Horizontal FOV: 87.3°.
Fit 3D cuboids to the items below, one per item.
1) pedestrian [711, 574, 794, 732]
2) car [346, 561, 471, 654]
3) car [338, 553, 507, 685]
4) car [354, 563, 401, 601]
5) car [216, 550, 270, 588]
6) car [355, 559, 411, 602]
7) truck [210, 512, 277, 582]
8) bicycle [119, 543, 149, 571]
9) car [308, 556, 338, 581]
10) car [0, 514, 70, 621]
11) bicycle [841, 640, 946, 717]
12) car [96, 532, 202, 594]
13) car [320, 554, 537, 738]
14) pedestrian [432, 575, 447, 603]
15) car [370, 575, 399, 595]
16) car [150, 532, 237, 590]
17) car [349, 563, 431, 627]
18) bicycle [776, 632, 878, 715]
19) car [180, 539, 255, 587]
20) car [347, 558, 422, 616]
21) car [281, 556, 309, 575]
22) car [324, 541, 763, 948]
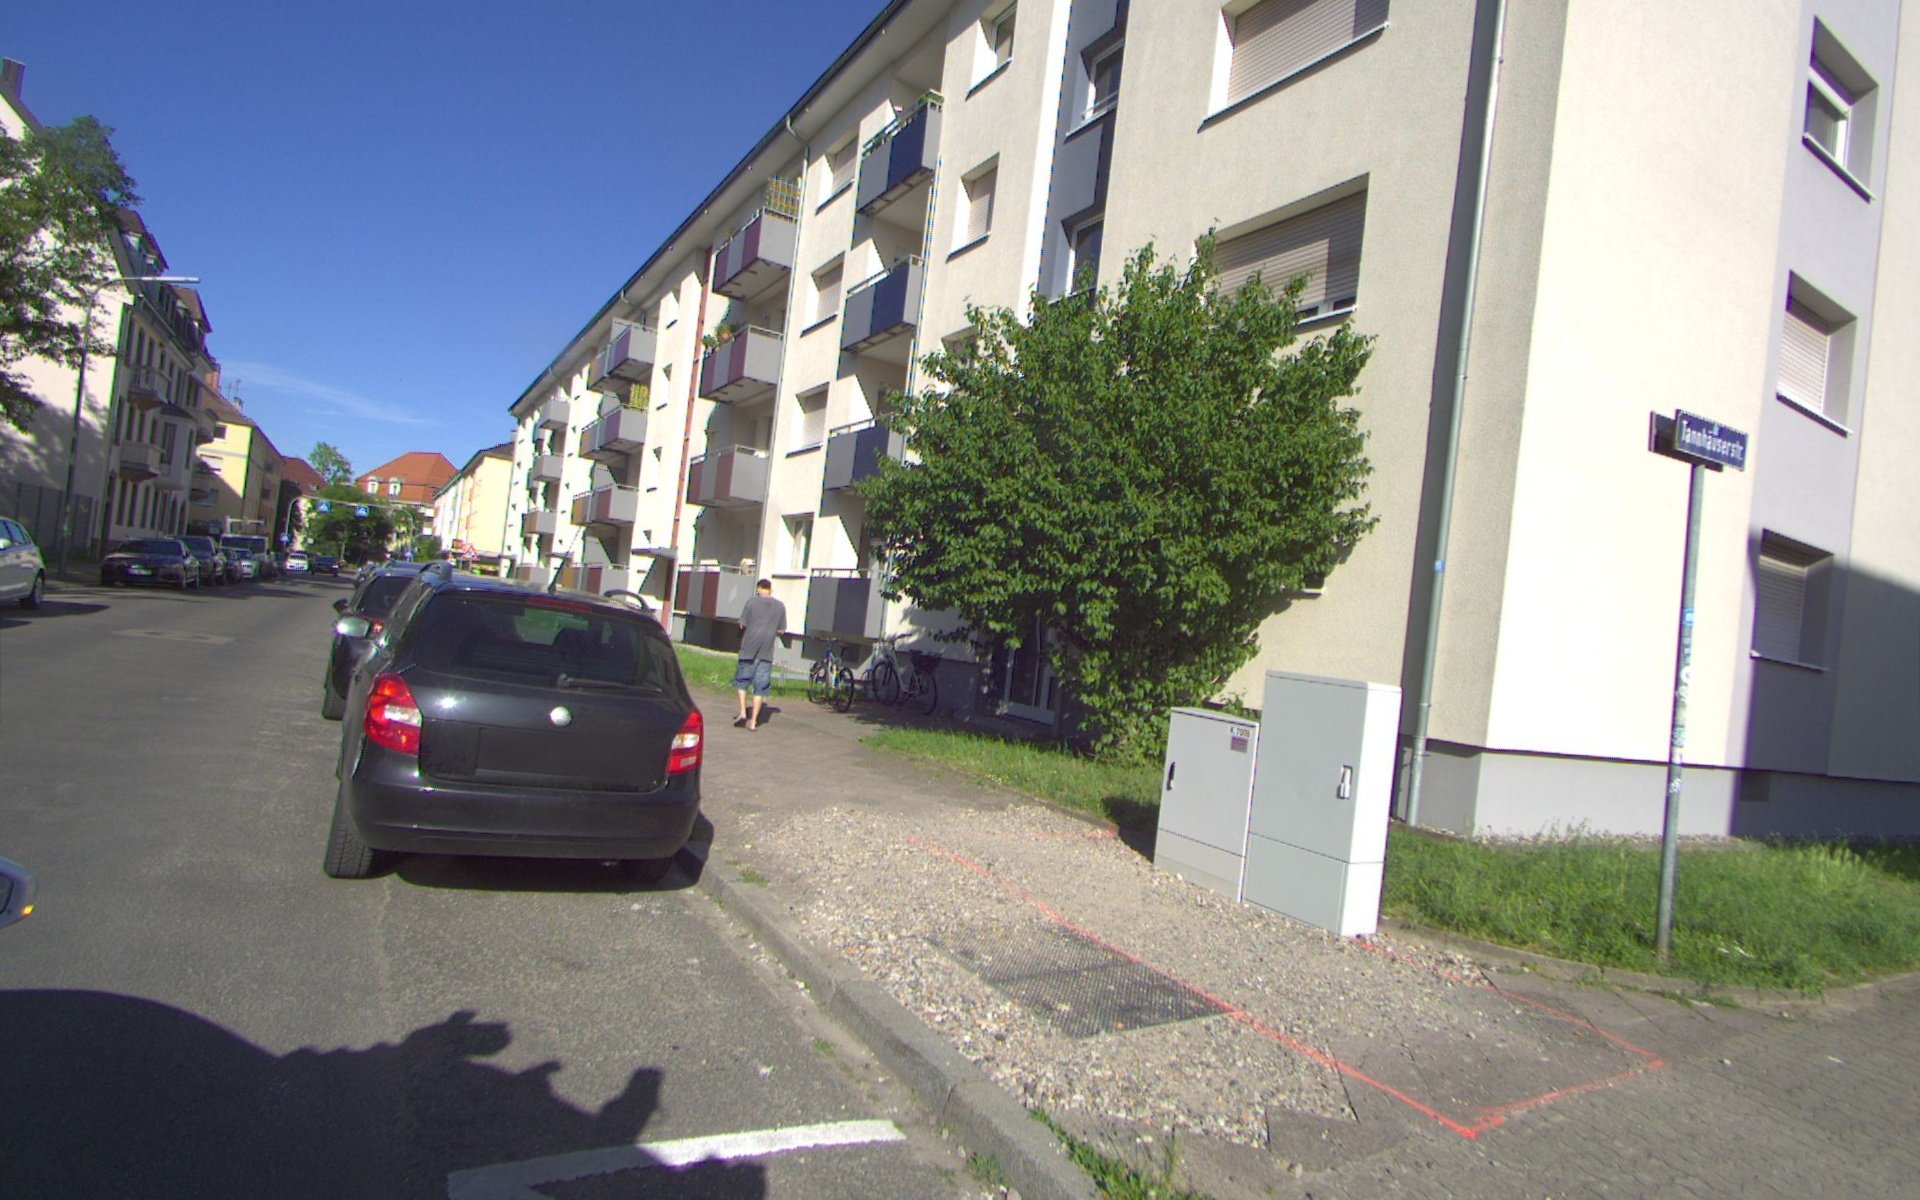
[{"bbox_3d":[-2.518,0.630,12.179,0.639,1.792,0.837,7,-1,-23],"label":"pedestrian"},{"bbox_3d":[-11.166,0.105,20.242,1.742,1.497,4.046,9,-3,-33],"label":"car"},{"bbox_3d":[-8.294,0.227,15.329,1.742,1.576,4.219,9,-3,-33],"label":"car"},{"bbox_3d":[-27.871,-0.865,48.162,1.677,1.482,3.556,11,-3,-30],"label":"car"},{"bbox_3d":[-32.506,-1.418,45.684,1.777,1.562,4.601,1,2,-33],"label":"car"},{"bbox_3d":[-25.468,-0.873,44.348,1.679,1.476,3.786,14,-6,-33],"label":"car"},{"bbox_3d":[-36.432,-2.608,51.294,2.245,3.020,7.214,7,-2,-33],"label":"truck"},{"bbox_3d":[-38.215,-1.999,46.571,0.625,1.218,2.322,7,-1,-31],"label":"bicycle"},{"bbox_3d":[-49.666,-2.452,78.495,1.809,1.653,4.222,7,-2,-32],"label":"car"},{"bbox_3d":[-14.751,-0.560,14.725,1.780,1.462,4.088,5,-1,-31],"label":"car"},{"bbox_3d":[-1.093,1.213,15.915,0.482,0.972,2.263,6,-1,-34],"label":"bicycle"},{"bbox_3d":[-23.320,-1.045,29.090,1.781,1.489,4.465,5,-1,-32],"label":"car"},{"bbox_3d":[-5.761,0.401,10.692,1.594,1.501,3.767,8,-2,-32],"label":"car"},{"bbox_3d":[-28.147,-0.615,54.416,0.570,1.451,0.468,6,0,-29],"label":"pedestrian"},{"bbox_3d":[-50.850,-1.341,88.848,1.834,1.457,3.389,8,-2,-33],"label":"car"},{"bbox_3d":[-26.344,-1.331,34.727,1.865,1.684,4.891,5,-1,-32],"label":"car"},{"bbox_3d":[-16.010,-0.173,28.314,1.739,1.460,4.491,8,-2,-29],"label":"car"},{"bbox_3d":[-2.075,1.095,15.392,0.482,1.024,2.263,6,-1,-34],"label":"bicycle"},{"bbox_3d":[-29.716,-1.436,40.395,1.779,1.580,4.427,9,-3,-30],"label":"car"},{"bbox_3d":[-19.772,-0.470,34.475,1.887,1.640,4.565,9,-3,-32],"label":"car"},{"bbox_3d":[-59.612,-3.090,90.203,1.778,1.498,4.067,7,-1,-31],"label":"car"},{"bbox_3d":[-2.765,0.600,6.020,1.607,1.566,4.052,7,-3,-32],"label":"car"}]
